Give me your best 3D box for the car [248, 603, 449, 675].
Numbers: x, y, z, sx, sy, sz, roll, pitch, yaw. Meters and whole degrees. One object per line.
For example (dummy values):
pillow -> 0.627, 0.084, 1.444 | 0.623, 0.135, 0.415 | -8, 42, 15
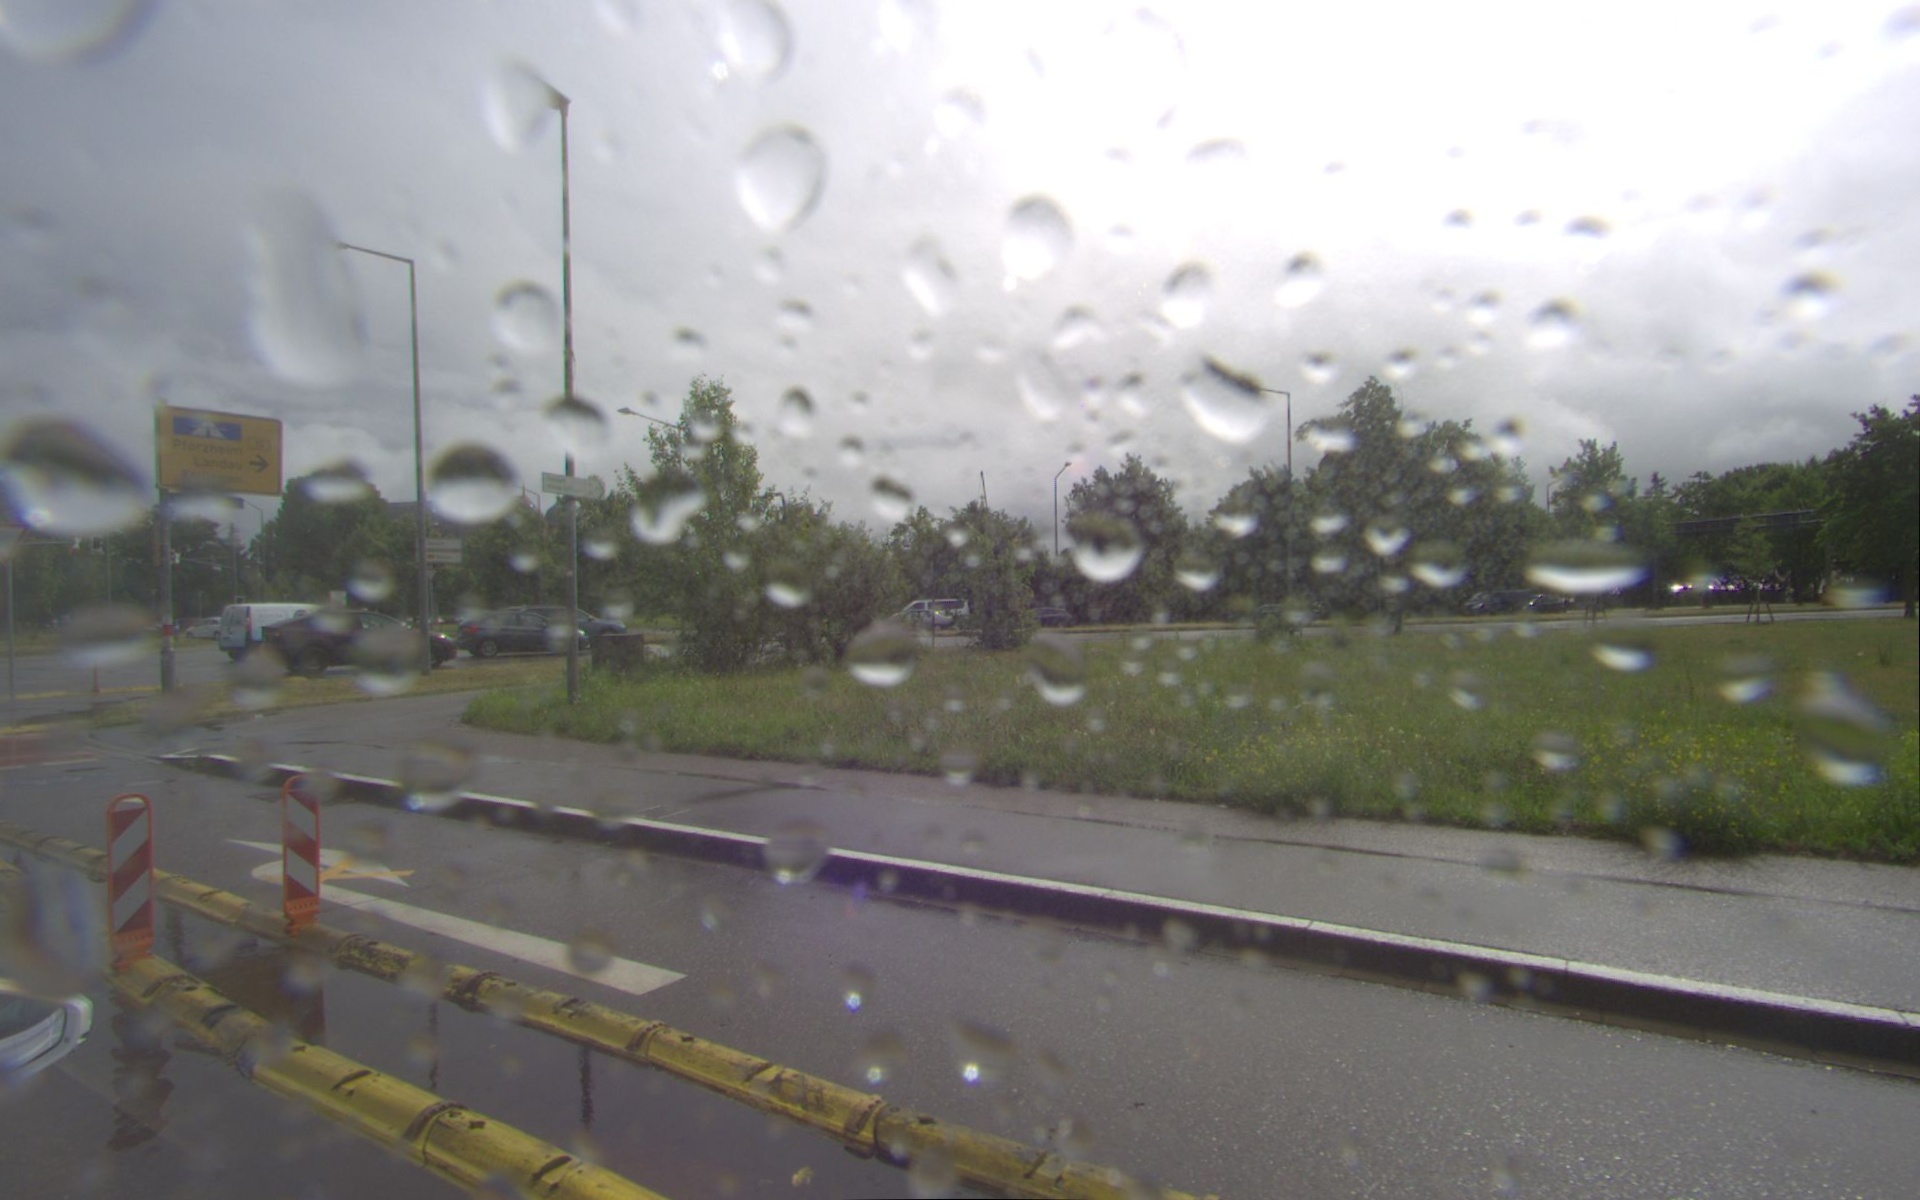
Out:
car -> -16.640, 0.999, 27.393 | 1.978, 1.748, 4.317 | -1, 0, 43

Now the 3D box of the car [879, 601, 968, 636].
car -> -2.177, 1.058, 58.893 | 4.872, 1.944, 1.997 | -1, 0, -16

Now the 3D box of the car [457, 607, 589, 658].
car -> -15.086, 1.091, 34.640 | 3.906, 1.666, 1.659 | 0, 0, -37

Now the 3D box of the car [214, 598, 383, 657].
car -> -22.031, 0.868, 33.545 | 1.841, 1.833, 4.386 | -1, 0, 28

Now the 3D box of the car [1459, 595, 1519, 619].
car -> 36.381, 0.501, 68.890 | 3.459, 1.580, 1.541 | -1, 0, -13

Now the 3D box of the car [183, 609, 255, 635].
car -> -46.408, 1.359, 62.744 | 3.522, 1.568, 1.732 | -1, 0, 12

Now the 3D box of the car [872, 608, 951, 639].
car -> -2.718, 1.296, 55.761 | 4.039, 1.581, 1.912 | -1, 0, -14

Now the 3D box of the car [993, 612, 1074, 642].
car -> 4.206, 1.509, 57.226 | 4.226, 1.581, 1.912 | -1, 0, -14

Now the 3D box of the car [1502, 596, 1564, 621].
car -> 38.254, 0.552, 66.894 | 3.459, 1.580, 1.541 | -1, 0, -13

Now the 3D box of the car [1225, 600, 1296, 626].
car -> 19.280, 0.805, 64.358 | 4.157, 1.580, 1.541 | -1, 0, -14

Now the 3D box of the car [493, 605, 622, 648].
car -> -15.564, 1.000, 38.844 | 4.348, 1.568, 1.857 | 0, 0, -36
